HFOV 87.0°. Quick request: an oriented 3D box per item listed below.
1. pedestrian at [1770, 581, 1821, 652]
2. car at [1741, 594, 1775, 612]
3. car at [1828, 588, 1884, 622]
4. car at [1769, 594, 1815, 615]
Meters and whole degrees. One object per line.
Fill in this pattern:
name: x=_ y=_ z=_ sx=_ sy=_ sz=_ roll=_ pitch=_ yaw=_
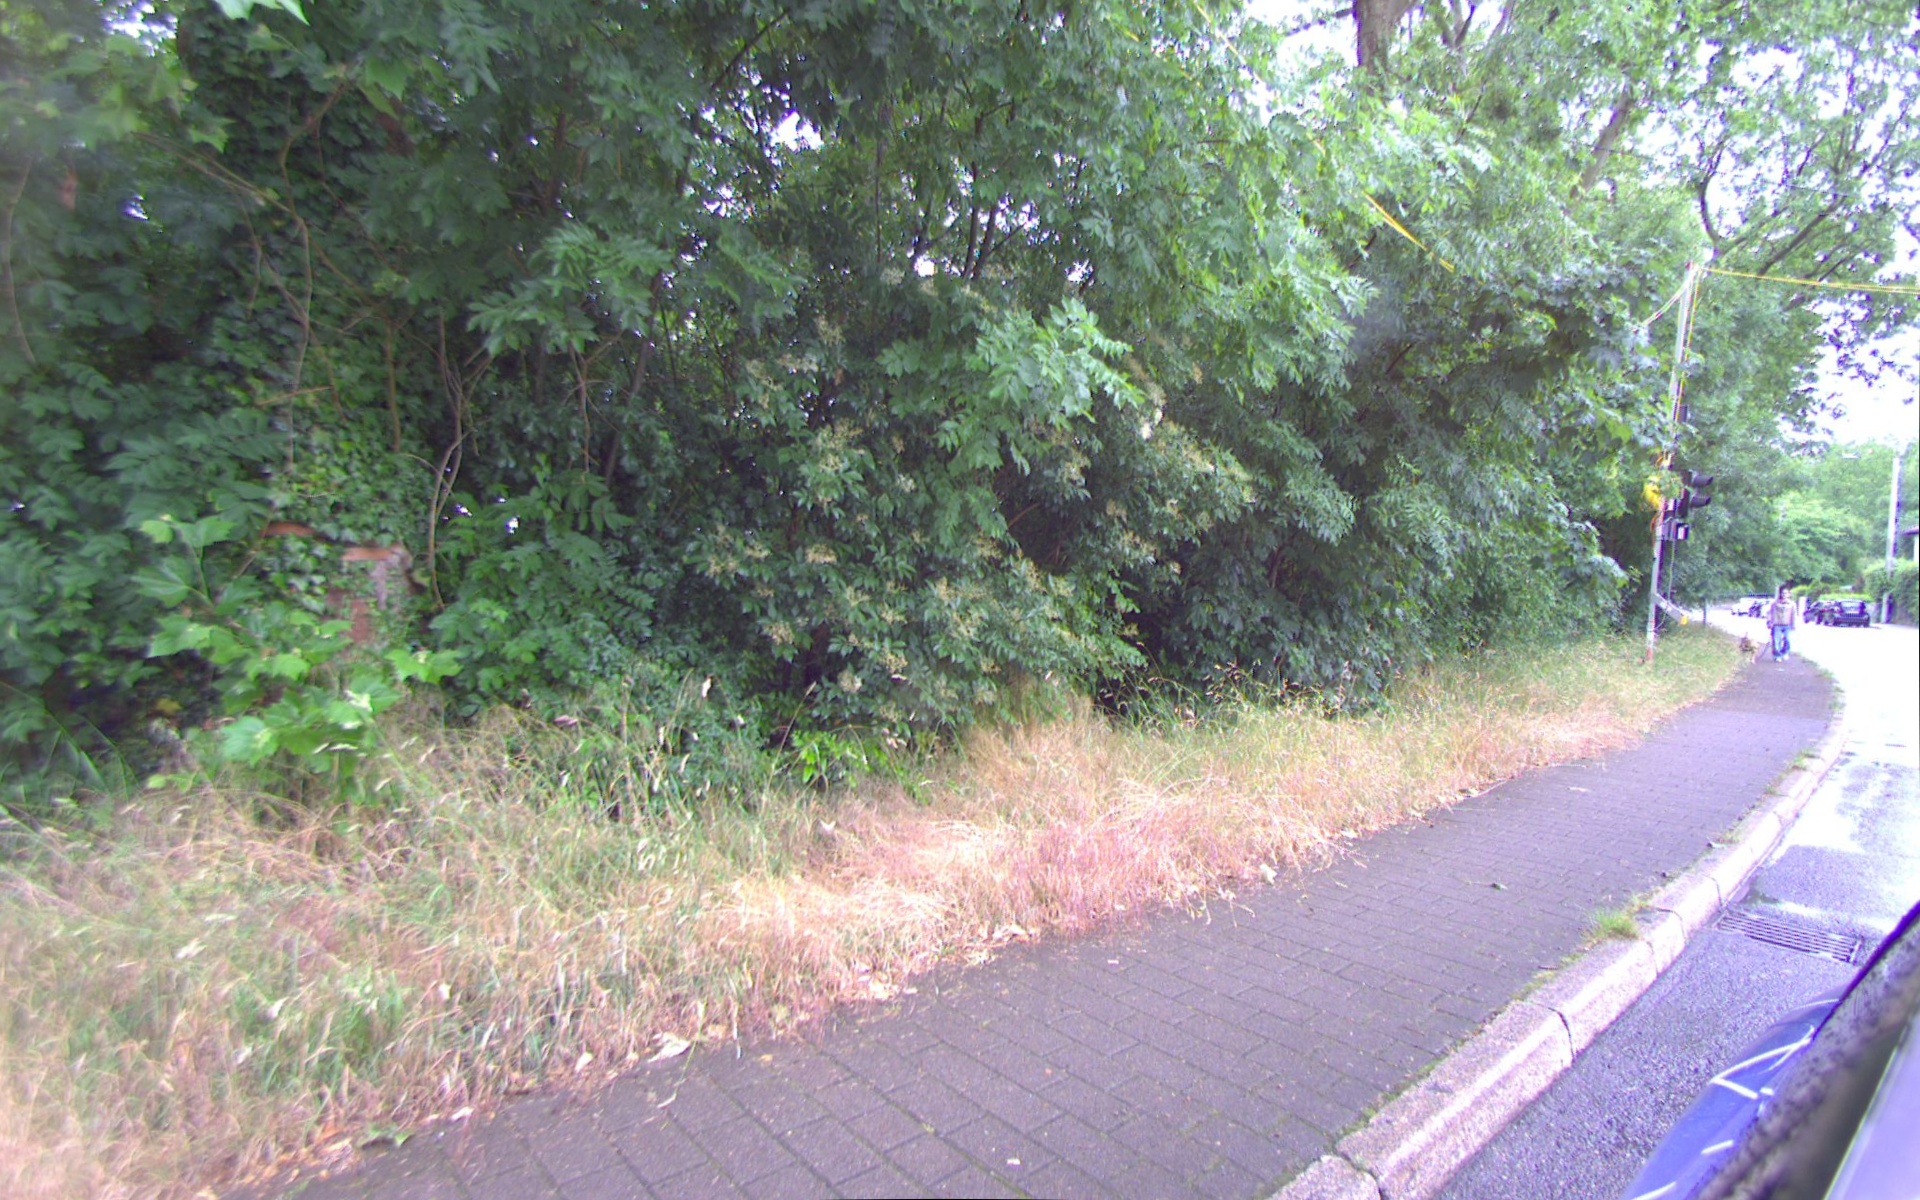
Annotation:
pedestrian: x=18.318 y=0.352 z=22.183 sx=0.771 sy=1.518 sz=0.734 roll=0 pitch=-1 yaw=-42
car: x=64.924 y=0.215 z=82.371 sx=1.676 sy=1.445 sz=3.734 roll=1 pitch=1 yaw=31
car: x=51.045 y=0.279 z=57.705 sx=1.869 sy=1.848 sz=4.075 roll=1 pitch=1 yaw=35
car: x=60.731 y=0.293 z=73.918 sx=2.055 sy=1.504 sz=4.509 roll=1 pitch=1 yaw=33
